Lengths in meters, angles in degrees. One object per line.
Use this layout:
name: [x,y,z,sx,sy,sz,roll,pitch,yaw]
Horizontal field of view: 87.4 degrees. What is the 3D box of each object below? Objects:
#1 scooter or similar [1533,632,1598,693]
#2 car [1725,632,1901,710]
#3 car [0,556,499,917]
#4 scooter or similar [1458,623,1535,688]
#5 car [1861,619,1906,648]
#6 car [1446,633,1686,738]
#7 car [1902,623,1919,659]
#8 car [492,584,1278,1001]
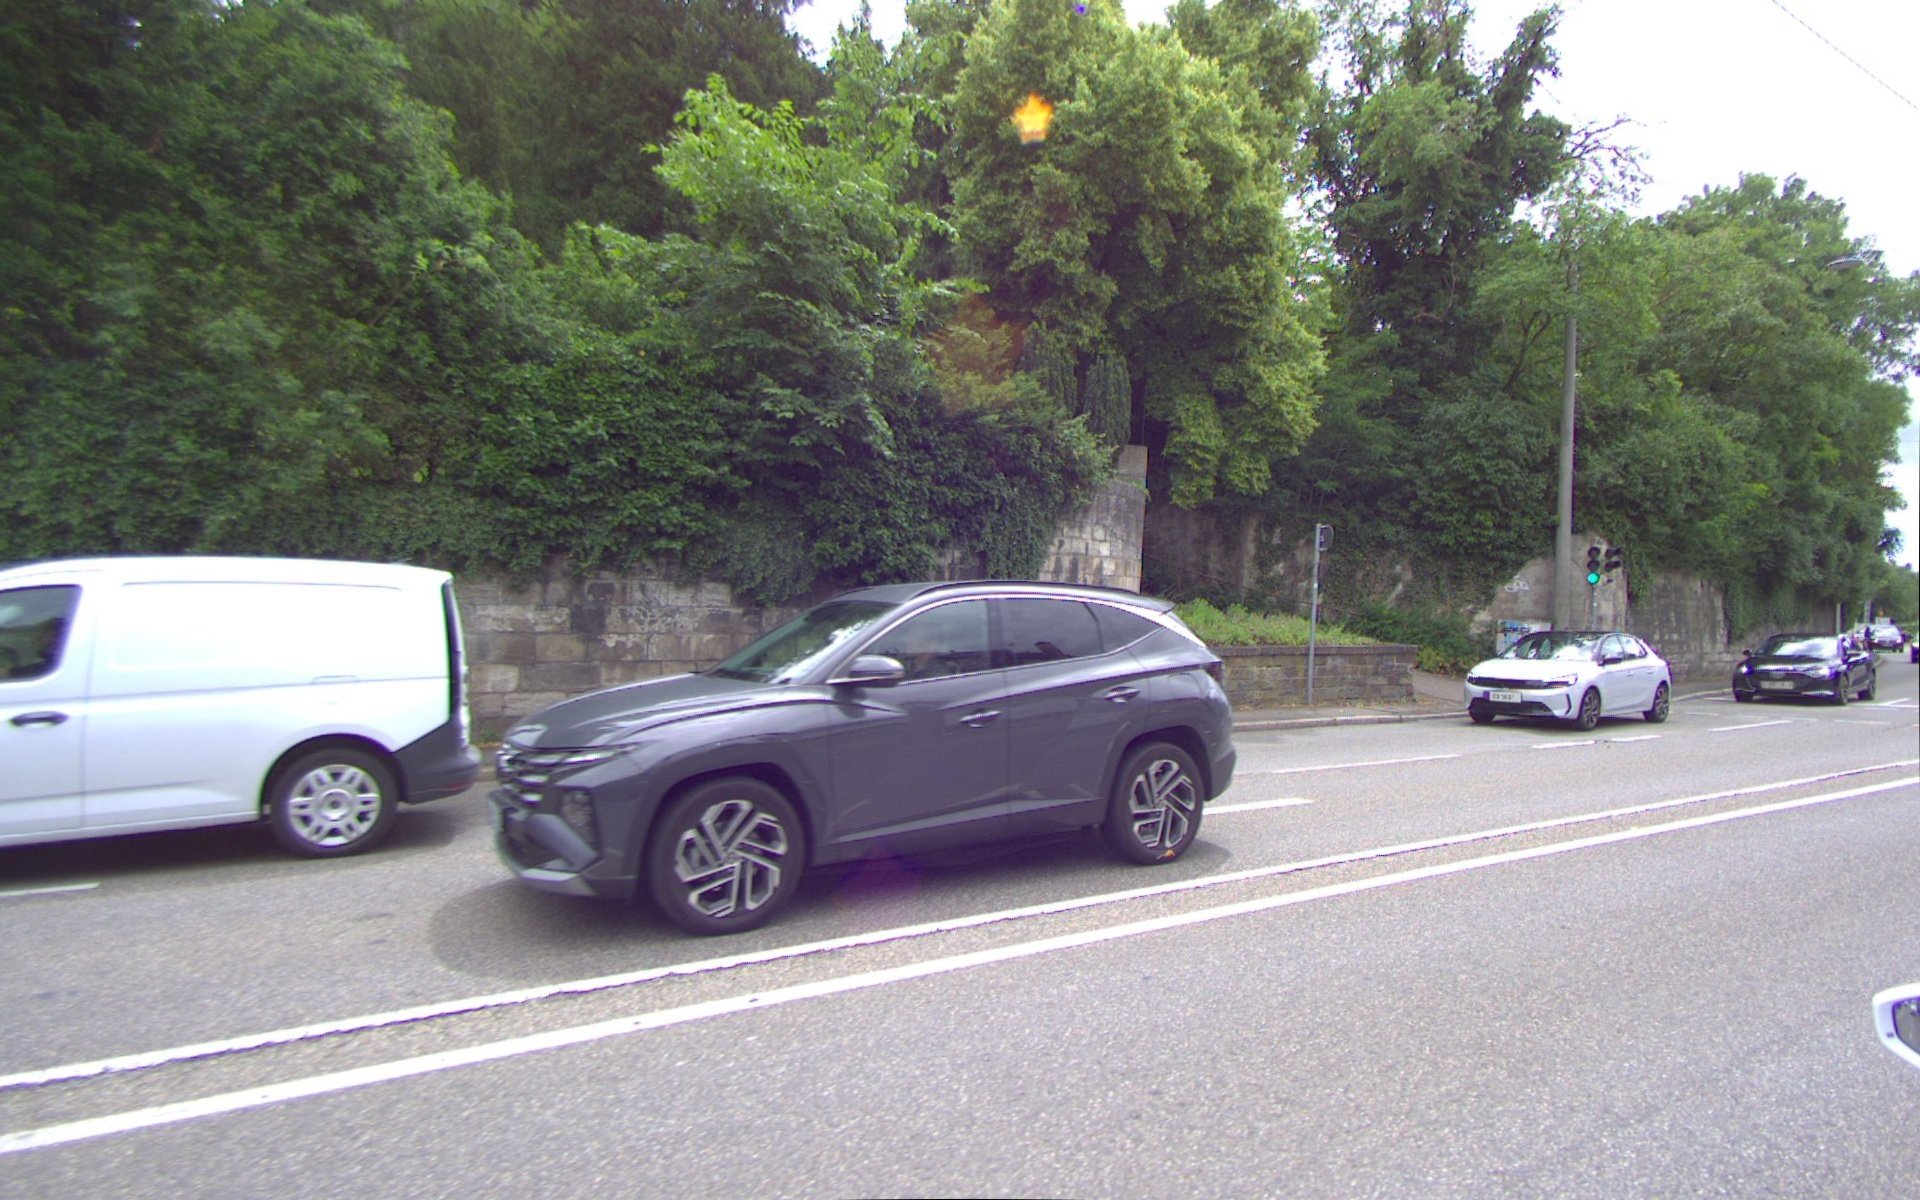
scooter or similar: [13.485,1.381,22.387,1.076,1.254,0.434,4,3,11]
car: [17.972,1.424,21.115,4.382,1.437,1.673,1,-2,-34]
car: [-5.290,0.736,6.151,4.344,1.872,1.884,1,-2,-30]
scooter or similar: [12.050,1.234,22.578,1.324,1.253,0.434,8,4,4]
car: [62.150,2.251,67.560,4.214,1.870,1.729,1,-1,-40]
car: [9.576,1.245,15.795,3.981,1.421,1.705,0,-2,-34]
car: [44.523,1.846,45.945,1.972,1.629,4.452,-3,-3,42]
car: [-0.291,0.784,5.942,4.313,1.654,1.838,1,0,-33]
